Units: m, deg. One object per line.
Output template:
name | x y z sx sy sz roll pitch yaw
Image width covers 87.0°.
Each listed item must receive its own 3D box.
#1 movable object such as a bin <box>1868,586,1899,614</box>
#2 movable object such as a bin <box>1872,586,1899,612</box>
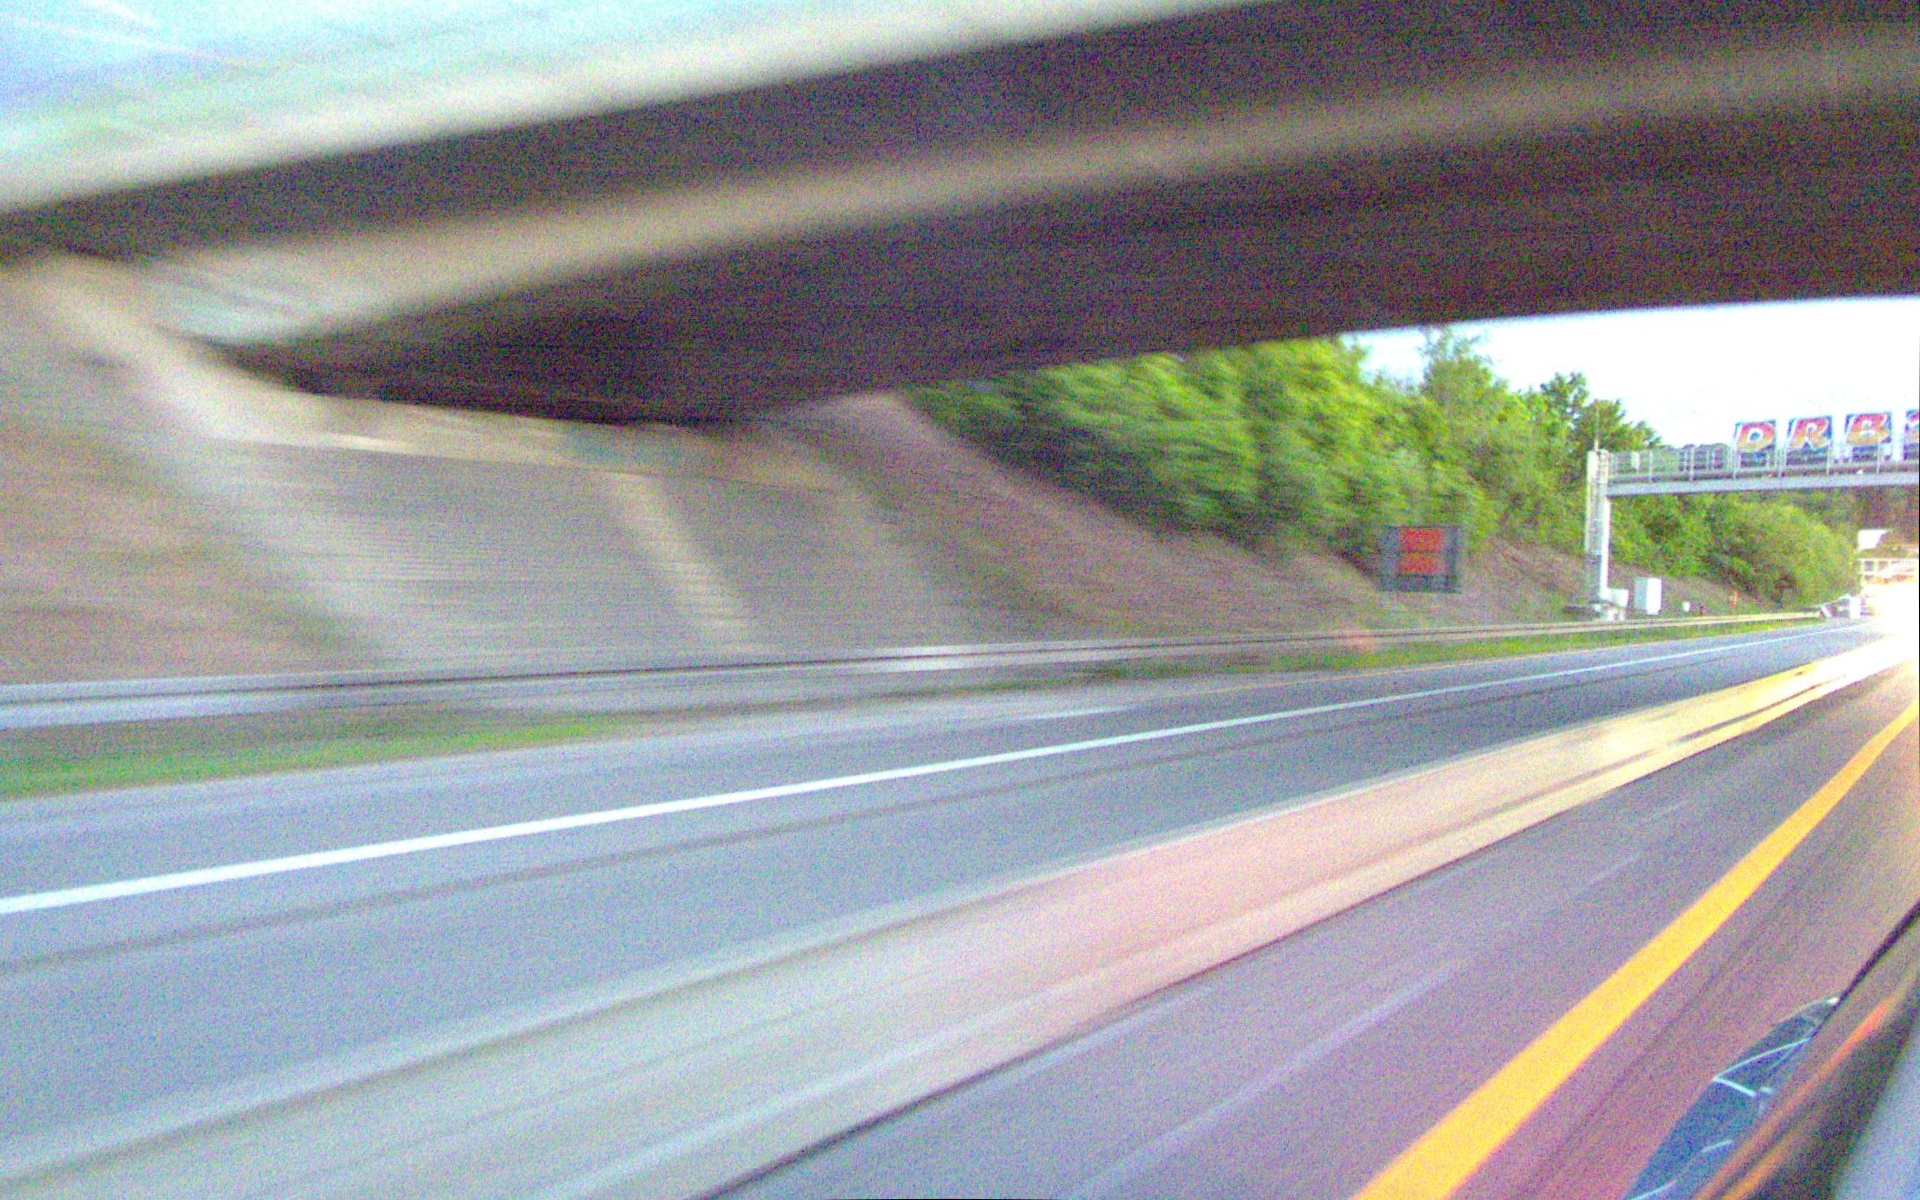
movable object such as a bin | 107.589 -0.074 117.875 2.621 3.147 5.715 2 1 43
movable object such as a bin | 123.182 -0.128 134.666 2.564 3.359 5.492 2 2 43
